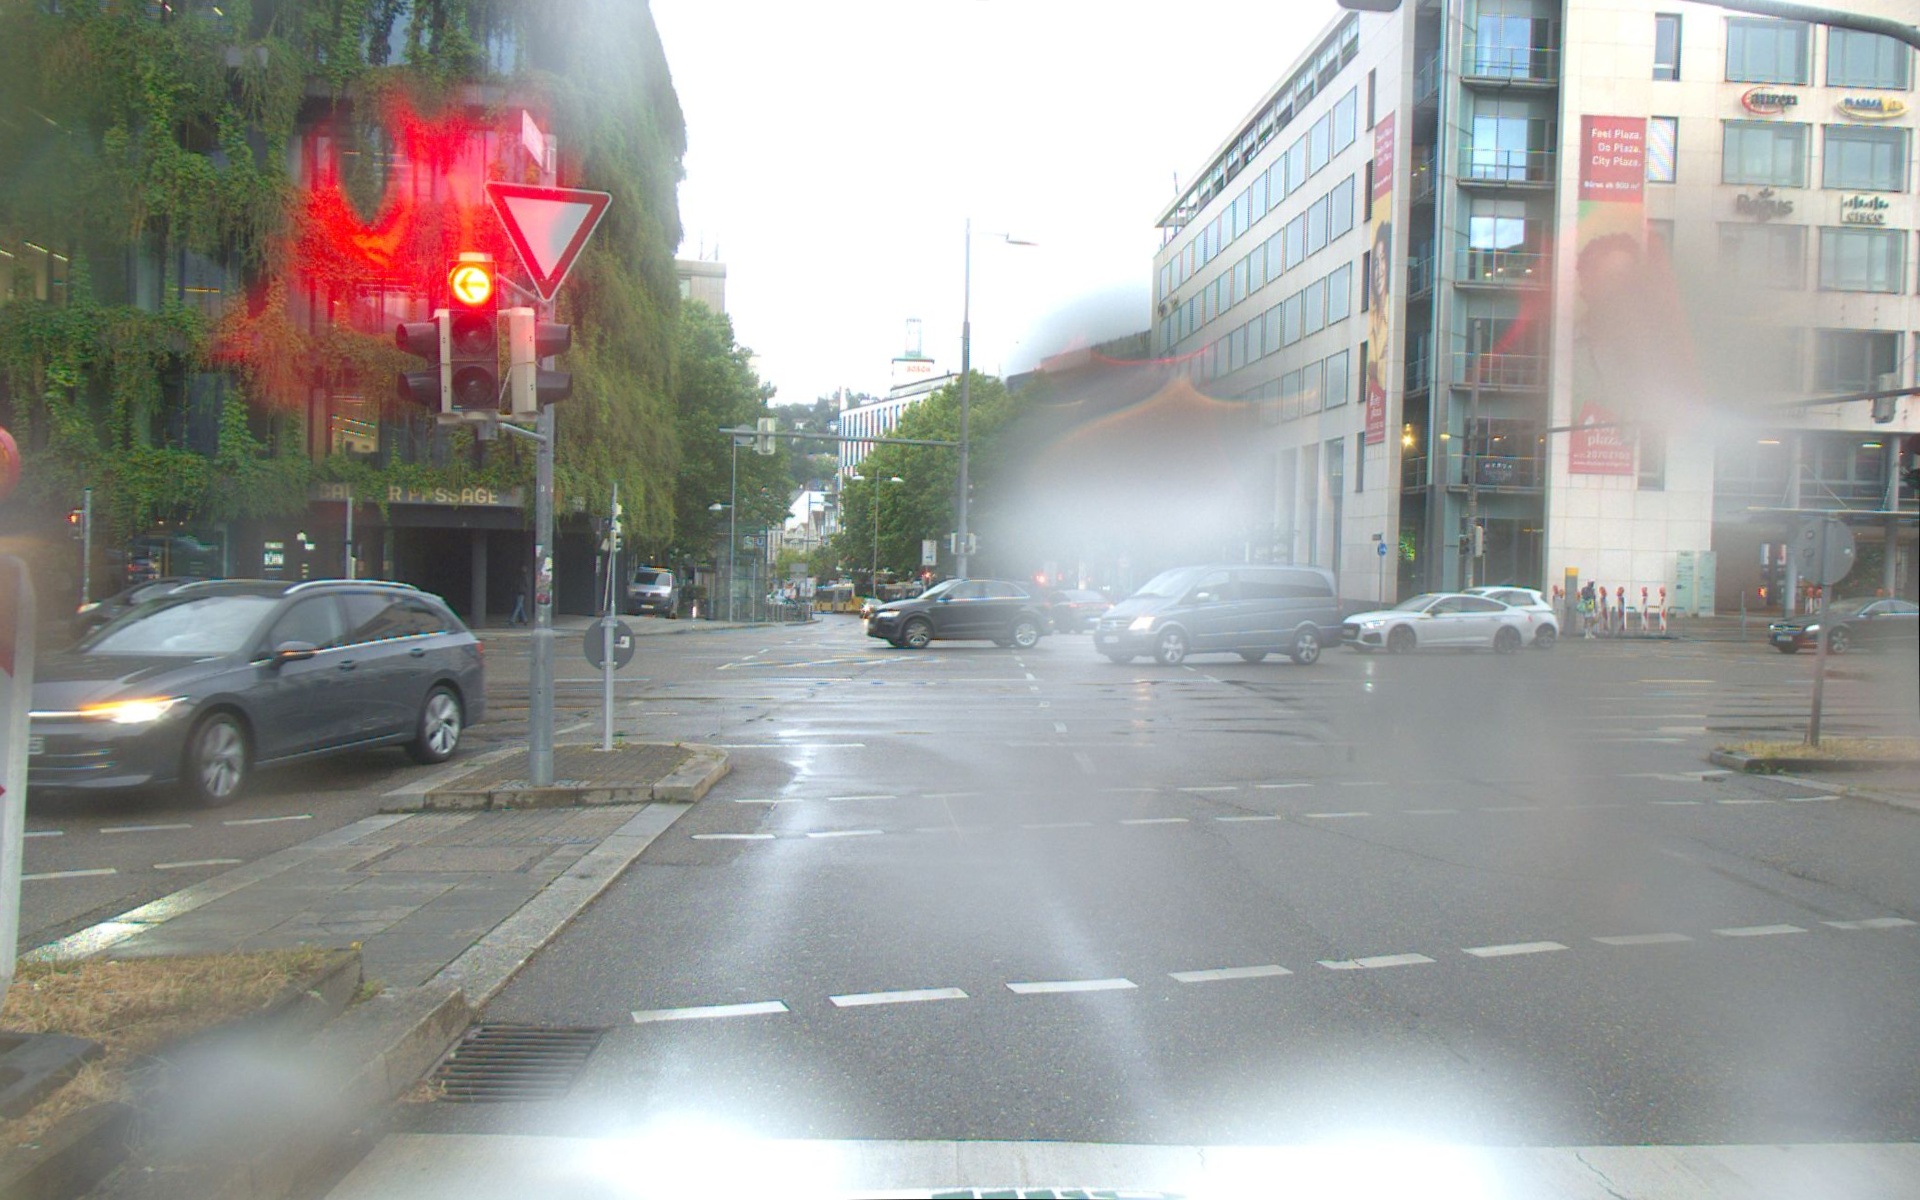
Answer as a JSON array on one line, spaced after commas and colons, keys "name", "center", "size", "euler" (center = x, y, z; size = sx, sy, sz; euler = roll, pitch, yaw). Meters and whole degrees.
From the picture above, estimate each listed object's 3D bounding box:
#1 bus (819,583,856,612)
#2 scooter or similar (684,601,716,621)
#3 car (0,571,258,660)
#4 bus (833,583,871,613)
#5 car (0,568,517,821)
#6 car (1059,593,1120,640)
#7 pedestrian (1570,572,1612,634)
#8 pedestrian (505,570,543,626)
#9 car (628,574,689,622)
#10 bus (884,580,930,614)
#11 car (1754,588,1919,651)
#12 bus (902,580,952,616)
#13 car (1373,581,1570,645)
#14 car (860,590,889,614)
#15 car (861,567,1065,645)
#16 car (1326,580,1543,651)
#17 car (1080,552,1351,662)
[{"name": "bus", "center": [-13.346, -0.275, 180.124], "size": [2.585, 3.048, 7.417], "euler": [0, 0, -16]}, {"name": "scooter or similar", "center": [-12.933, 0.542, 82.334], "size": [0.612, 1.022, 1.653], "euler": [1, 0, 37]}, {"name": "car", "center": [-16.686, 0.319, 33.379], "size": [4.329, 1.667, 1.993], "euler": [1, 0, -14]}, {"name": "bus", "center": [-11.348, -0.209, 173.057], "size": [2.585, 3.048, 7.296], "euler": [0, 0, -16]}, {"name": "car", "center": [-5.204, 0.553, 12.424], "size": [1.652, 1.536, 4.294], "euler": [1, 1, 16]}, {"name": "car", "center": [4.459, 0.558, 57.352], "size": [1.745, 1.534, 3.999], "euler": [1, 0, -1]}, {"name": "pedestrian", "center": [19.158, 0.105, 50.206], "size": [0.942, 1.848, 0.836], "euler": [1, -1, -1]}, {"name": "pedestrian", "center": [-13.183, -0.061, 50.018], "size": [0.915, 1.673, 0.774], "euler": [1, -1, -1]}, {"name": "car", "center": [-12.386, -0.081, 68.134], "size": [1.832, 1.871, 3.999], "euler": [1, 0, -1]}, {"name": "bus", "center": [-4.969, -0.283, 153.008], "size": [2.585, 3.048, 7.417], "euler": [0, 0, -16]}, {"name": "car", "center": [22.827, 0.515, 41.913], "size": [4.765, 1.503, 1.992], "euler": [1, -2, -14]}, {"name": "bus", "center": [-2.973, -0.216, 145.892], "size": [2.585, 3.048, 7.417], "euler": [0, 0, -16]}, {"name": "car", "center": [13.089, 0.343, 42.371], "size": [4.608, 1.539, 1.802], "euler": [1, 0, -17]}, {"name": "car", "center": [-6.566, 0.187, 126.684], "size": [2.121, 1.796, 5.107], "euler": [0, 0, -4]}, {"name": "car", "center": [0.050, 0.147, 37.889], "size": [4.328, 1.667, 1.993], "euler": [1, 0, -14]}, {"name": "car", "center": [10.993, 0.367, 38.344], "size": [4.608, 1.539, 1.802], "euler": [1, 0, -17]}, {"name": "car", "center": [4.926, 0.162, 31.760], "size": [4.886, 1.961, 1.984], "euler": [1, 0, -26]}]
